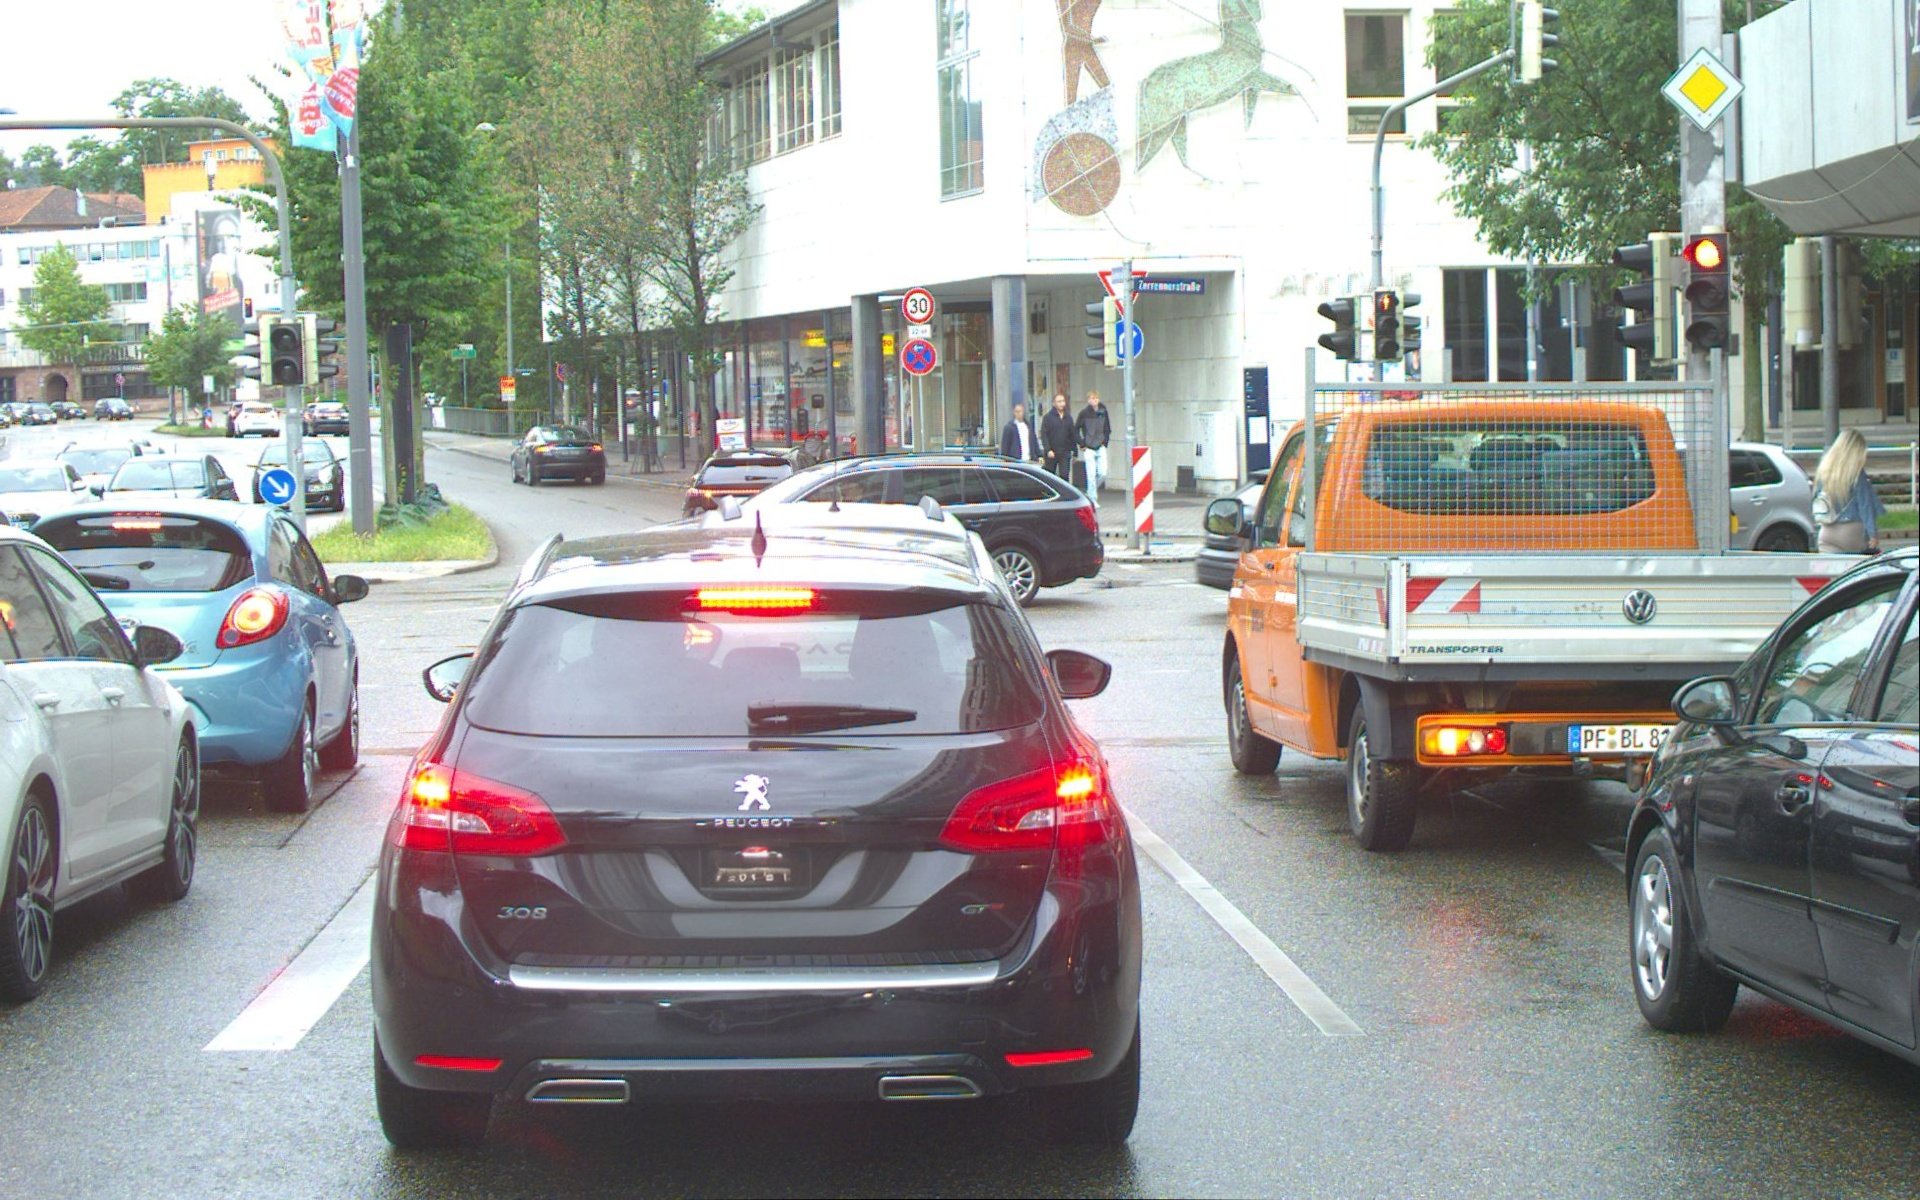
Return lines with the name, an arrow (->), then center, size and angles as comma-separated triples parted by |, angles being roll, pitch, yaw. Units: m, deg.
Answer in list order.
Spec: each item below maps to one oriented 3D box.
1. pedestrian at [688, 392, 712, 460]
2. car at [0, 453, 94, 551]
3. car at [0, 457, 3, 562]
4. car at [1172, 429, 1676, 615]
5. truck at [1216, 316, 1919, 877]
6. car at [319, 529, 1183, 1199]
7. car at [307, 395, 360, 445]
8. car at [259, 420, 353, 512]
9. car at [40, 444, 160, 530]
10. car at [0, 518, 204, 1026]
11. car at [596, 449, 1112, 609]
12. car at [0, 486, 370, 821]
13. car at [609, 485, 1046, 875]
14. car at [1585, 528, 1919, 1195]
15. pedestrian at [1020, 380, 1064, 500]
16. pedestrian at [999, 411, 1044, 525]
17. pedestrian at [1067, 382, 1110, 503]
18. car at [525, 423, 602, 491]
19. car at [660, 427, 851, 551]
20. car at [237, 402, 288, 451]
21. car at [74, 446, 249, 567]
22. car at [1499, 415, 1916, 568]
pedestrian -> -6.805, -4.549, 89.884 | 0.468, 1.742, 0.541 | 1, 0, -21
car -> -14.665, -1.566, 53.929 | 1.632, 1.481, 3.611 | 0, 2, -7
car -> -14.277, -1.220, 47.021 | 1.574, 1.481, 3.610 | 0, 2, -4
car -> 4.220, -0.730, 31.511 | 4.226, 1.559, 1.705 | -2, 2, -11
truck -> 2.581, -0.110, 15.883 | 2.177, 2.165, 5.021 | 1, 2, -3
car -> -0.520, 0.554, 9.037 | 1.777, 1.424, 3.843 | 0, 2, -3
car -> -26.854, -7.681, 147.232 | 1.705, 1.929, 4.001 | 1, 0, -18
car -> -12.893, -2.614, 67.748 | 1.744, 1.634, 4.001 | 1, 0, -11
car -> -15.325, -2.031, 61.399 | 1.632, 1.481, 3.611 | 0, 2, -7
car -> -3.731, 0.453, 11.448 | 1.777, 1.424, 3.843 | 0, 2, -3
car -> -1.043, -0.689, 33.157 | 4.721, 1.481, 1.639 | 0, 2, -14
car -> -3.953, 0.189, 17.393 | 1.632, 1.481, 3.610 | 0, 2, -5
car -> -0.544, 0.252, 15.307 | 1.696, 1.481, 3.794 | 1, 2, -1
car -> 2.844, 0.559, 8.644 | 1.616, 1.424, 3.843 | 0, 2, -3
pedestrian -> 1.319, -2.556, 55.141 | 0.637, 1.891, 0.733 | 0, 0, 6
pedestrian -> 0.968, -2.065, 53.824 | 0.637, 1.752, 0.733 | 0, 0, 6
pedestrian -> 2.058, -2.511, 54.977 | 0.637, 1.891, 0.733 | 0, 0, 6
car -> -9.791, -3.496, 84.642 | 1.724, 1.485, 4.734 | 1, 0, -8
car -> -2.747, -1.558, 47.231 | 1.787, 1.449, 4.506 | -2, 4, 7
car -> -29.625, -7.357, 145.922 | 1.705, 1.875, 4.001 | 1, 0, -18
car -> -11.074, -1.264, 47.902 | 1.744, 1.574, 4.000 | 1, 0, -4
car -> 7.721, -1.100, 35.617 | 3.894, 1.481, 1.624 | 1, 0, -12
